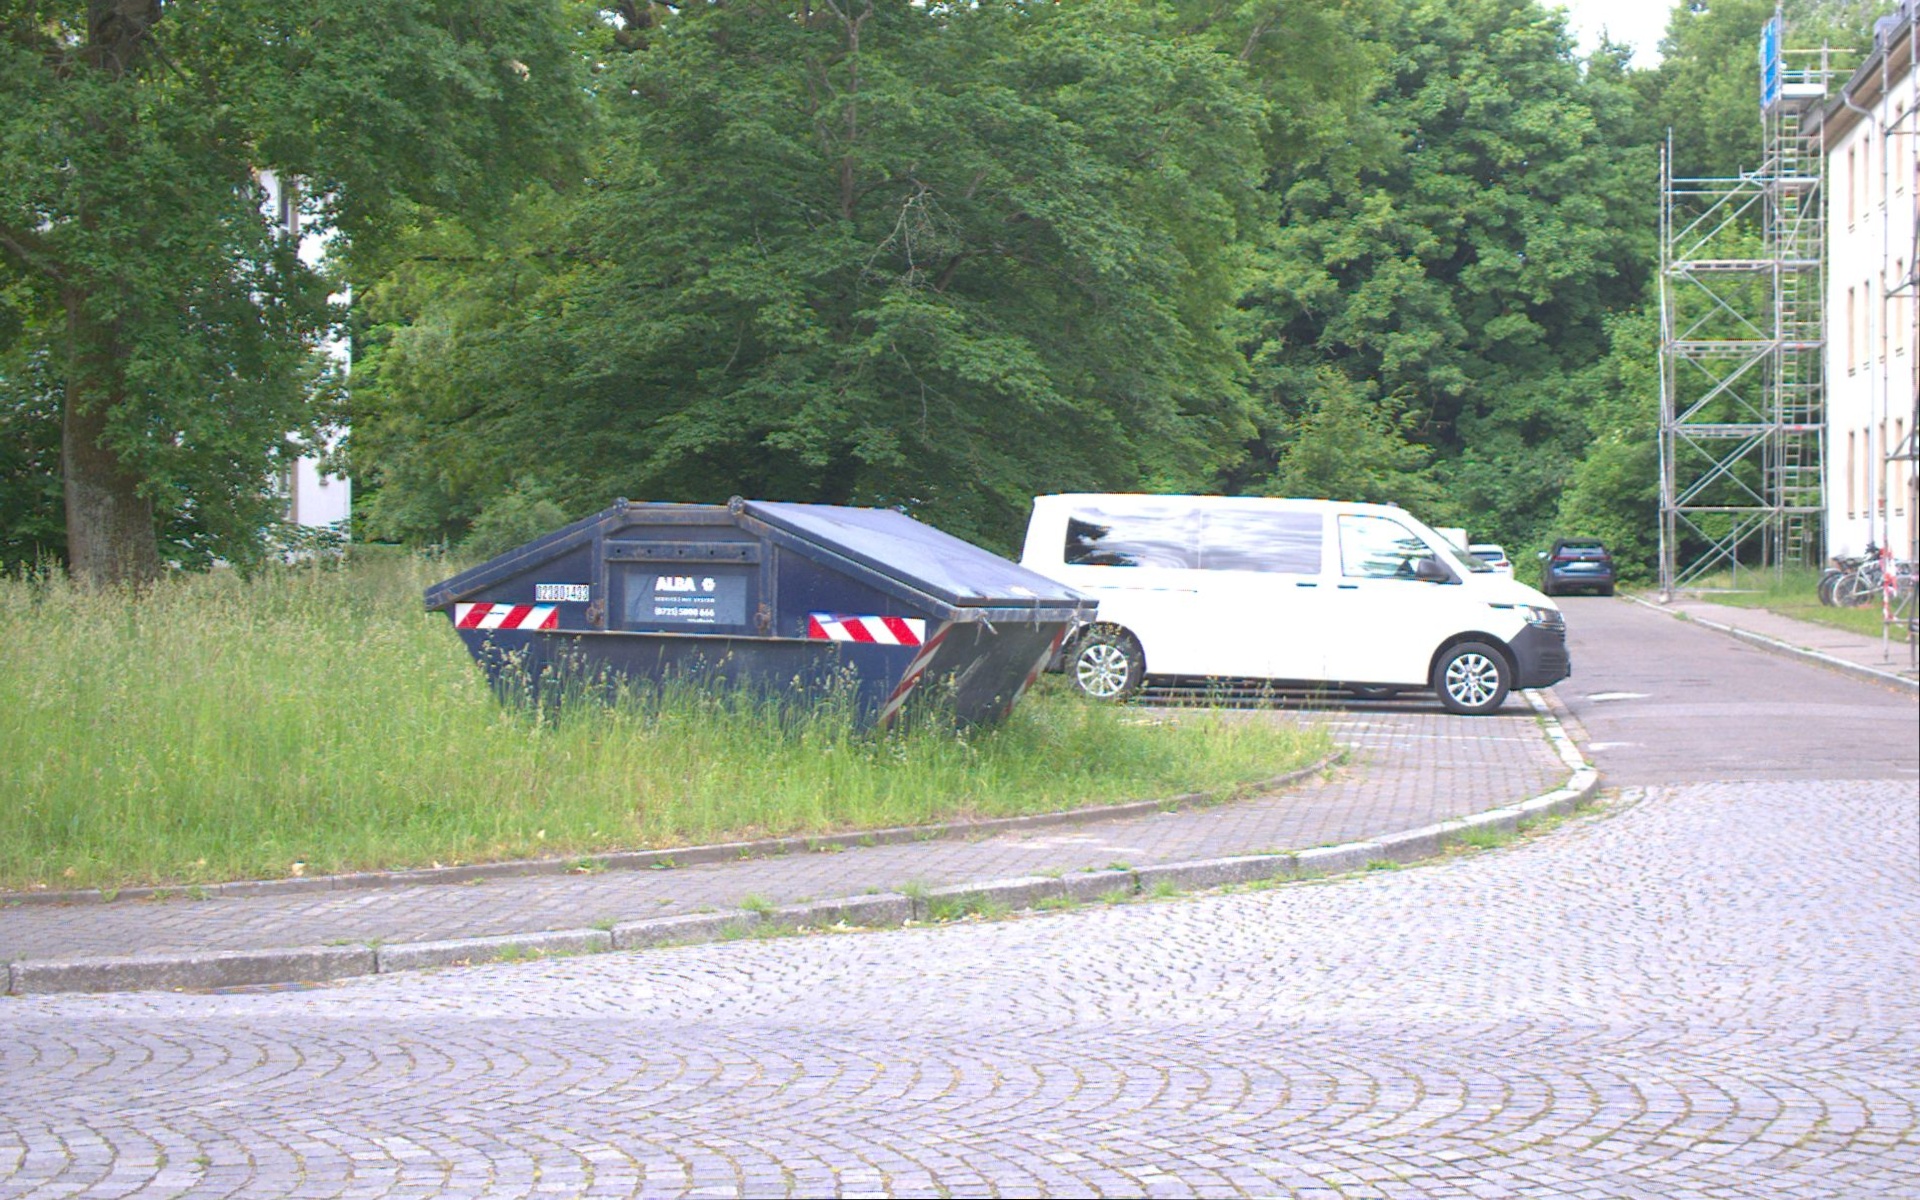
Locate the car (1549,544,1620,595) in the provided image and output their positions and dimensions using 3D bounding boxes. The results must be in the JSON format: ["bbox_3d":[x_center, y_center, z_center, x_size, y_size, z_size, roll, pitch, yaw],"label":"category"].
[{"bbox_3d":[17.066,-0.847,94.021,1.579,1.366,3.952,0,1,5],"label":"car"}]

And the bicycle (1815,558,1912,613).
[{"bbox_3d":[18.039,-0.297,68.659,1.857,1.091,0.510,0,1,15],"label":"bicycle"}]

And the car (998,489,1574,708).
[{"bbox_3d":[3.092,-0.033,32.507,5.260,1.990,1.968,0,1,8],"label":"car"}]

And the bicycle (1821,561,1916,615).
[{"bbox_3d":[18.342,-0.242,69.416,1.857,1.091,0.510,0,1,15],"label":"bicycle"}]

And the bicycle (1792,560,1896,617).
[{"bbox_3d":[16.857,-0.226,65.556,1.859,1.091,0.510,0,1,30],"label":"bicycle"}]

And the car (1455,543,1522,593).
[{"bbox_3d":[14.492,-0.883,94.423,1.579,1.334,3.952,0,1,5],"label":"car"}]

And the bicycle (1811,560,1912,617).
[{"bbox_3d":[17.652,-0.231,67.327,1.859,1.091,0.510,0,1,30],"label":"bicycle"}]
